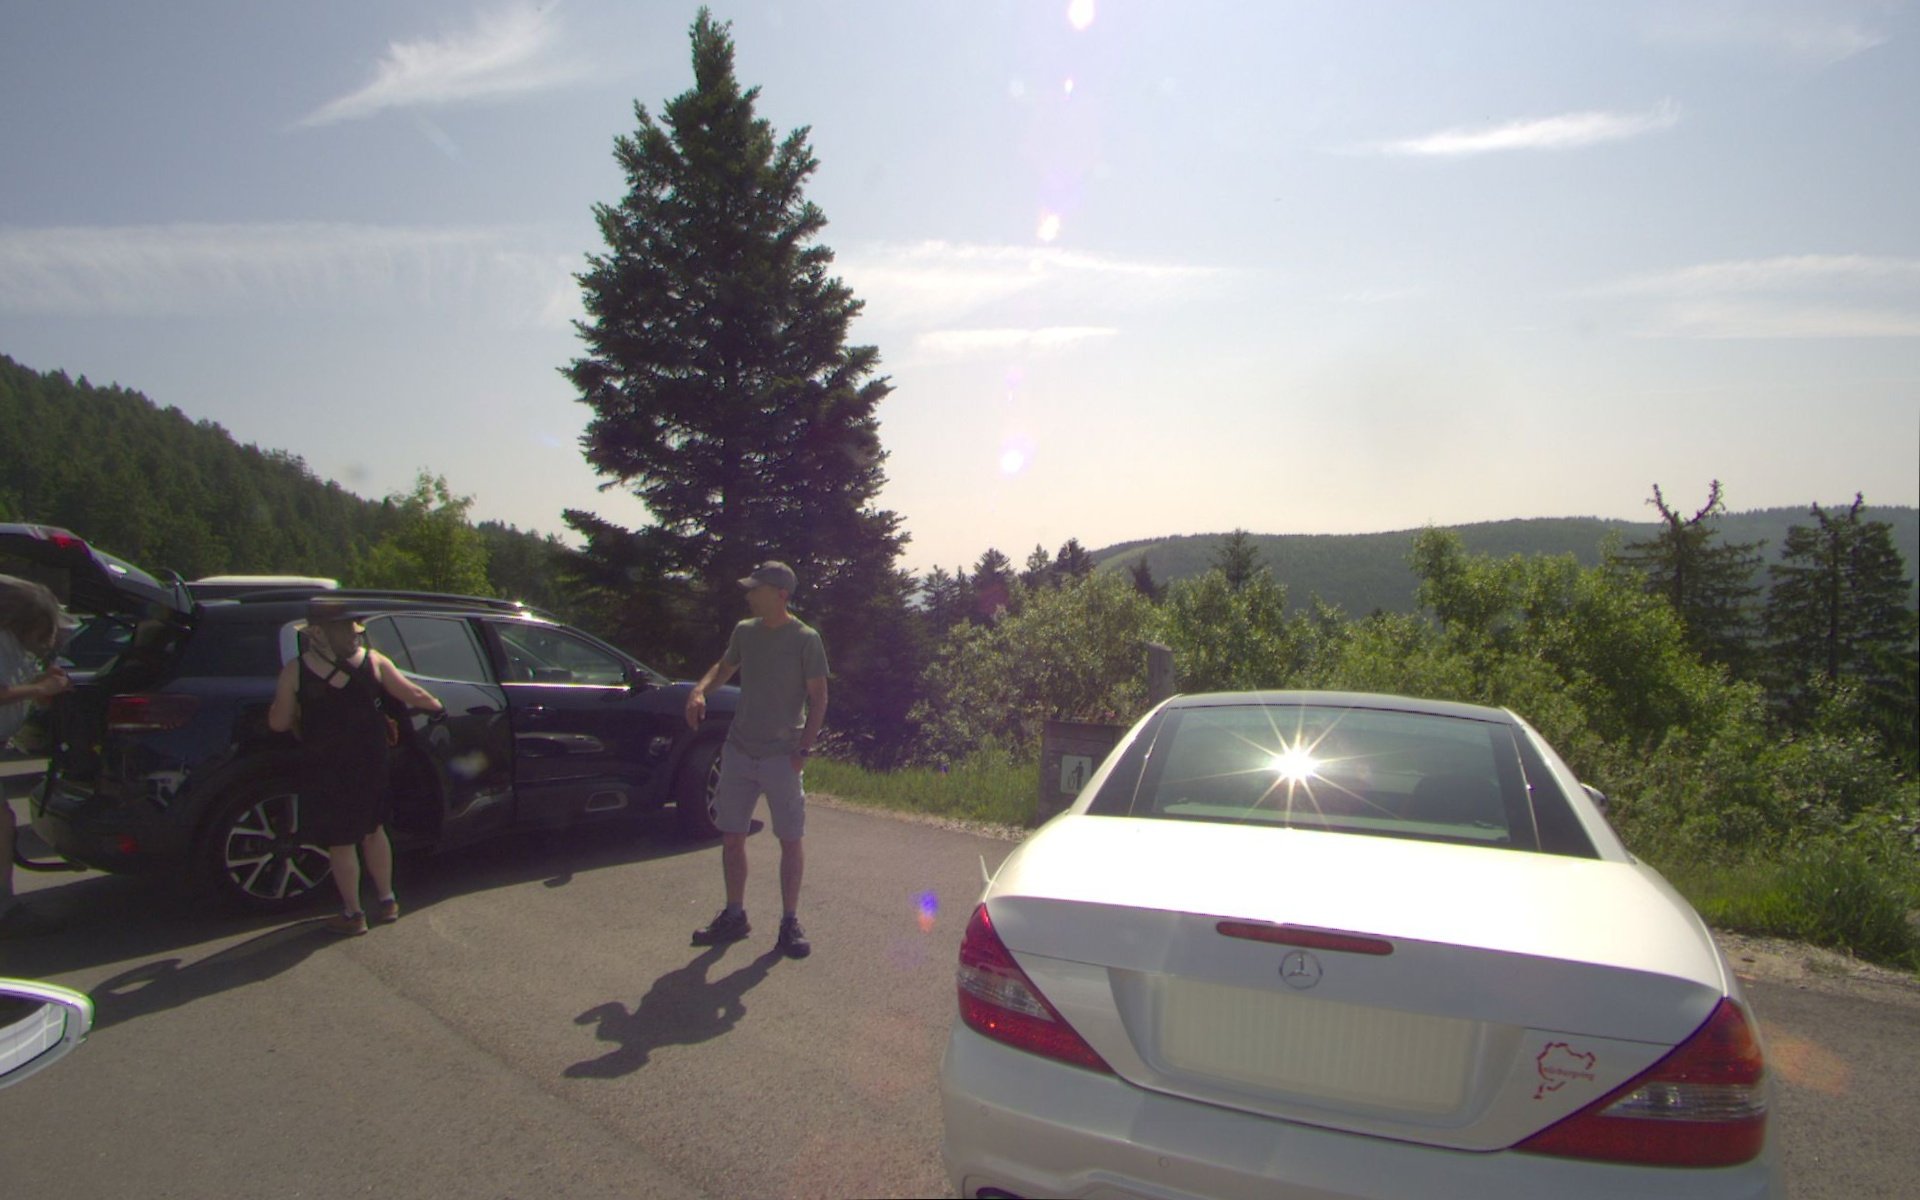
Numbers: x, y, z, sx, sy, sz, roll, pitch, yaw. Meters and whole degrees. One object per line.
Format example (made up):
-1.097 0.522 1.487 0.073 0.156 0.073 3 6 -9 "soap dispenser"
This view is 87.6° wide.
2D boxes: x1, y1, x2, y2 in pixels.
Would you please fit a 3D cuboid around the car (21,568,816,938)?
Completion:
-3.217 0.816 6.741 1.848 1.646 4.327 -2 -4 40 "car"

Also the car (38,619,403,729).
-10.996 1.004 15.096 4.215 1.285 1.820 -2 0 -44 "car"

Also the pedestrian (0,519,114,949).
-4.629 0.580 4.696 0.724 1.896 0.757 1 1 -14 "pedestrian"

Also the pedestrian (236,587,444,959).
-2.991 0.778 4.859 0.529 1.633 0.712 -1 -2 35 "pedestrian"

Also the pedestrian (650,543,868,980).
-0.906 0.691 4.643 0.734 1.823 0.735 -1 -1 16 "pedestrian"

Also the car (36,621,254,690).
-19.744 1.283 24.373 3.960 1.417 1.604 -2 0 -44 "car"

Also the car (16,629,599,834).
-5.527 0.980 8.997 1.680 1.394 4.069 -1 -2 36 "car"

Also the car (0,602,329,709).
-15.059 0.949 18.916 5.000 1.673 2.028 -2 0 -44 "car"

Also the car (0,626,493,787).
-7.436 0.998 10.768 1.682 1.394 4.065 -1 -2 39 "car"

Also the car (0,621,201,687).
-22.495 1.360 26.209 3.960 1.468 1.843 -2 0 -44 "car"

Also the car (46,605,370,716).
-12.718 0.933 17.123 4.215 1.574 1.820 -2 0 -44 "car"

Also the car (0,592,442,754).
-9.549 0.791 12.753 4.913 1.718 1.927 -1 0 -42 "car"

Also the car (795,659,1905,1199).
1.315 0.920 3.708 1.726 1.312 4.403 0 -2 23 "car"

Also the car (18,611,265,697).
-17.480 1.089 21.504 3.960 1.574 1.643 -2 0 -44 "car"

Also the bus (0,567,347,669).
-31.330 0.587 38.569 12.962 3.579 3.024 -2 0 -34 "bus"
